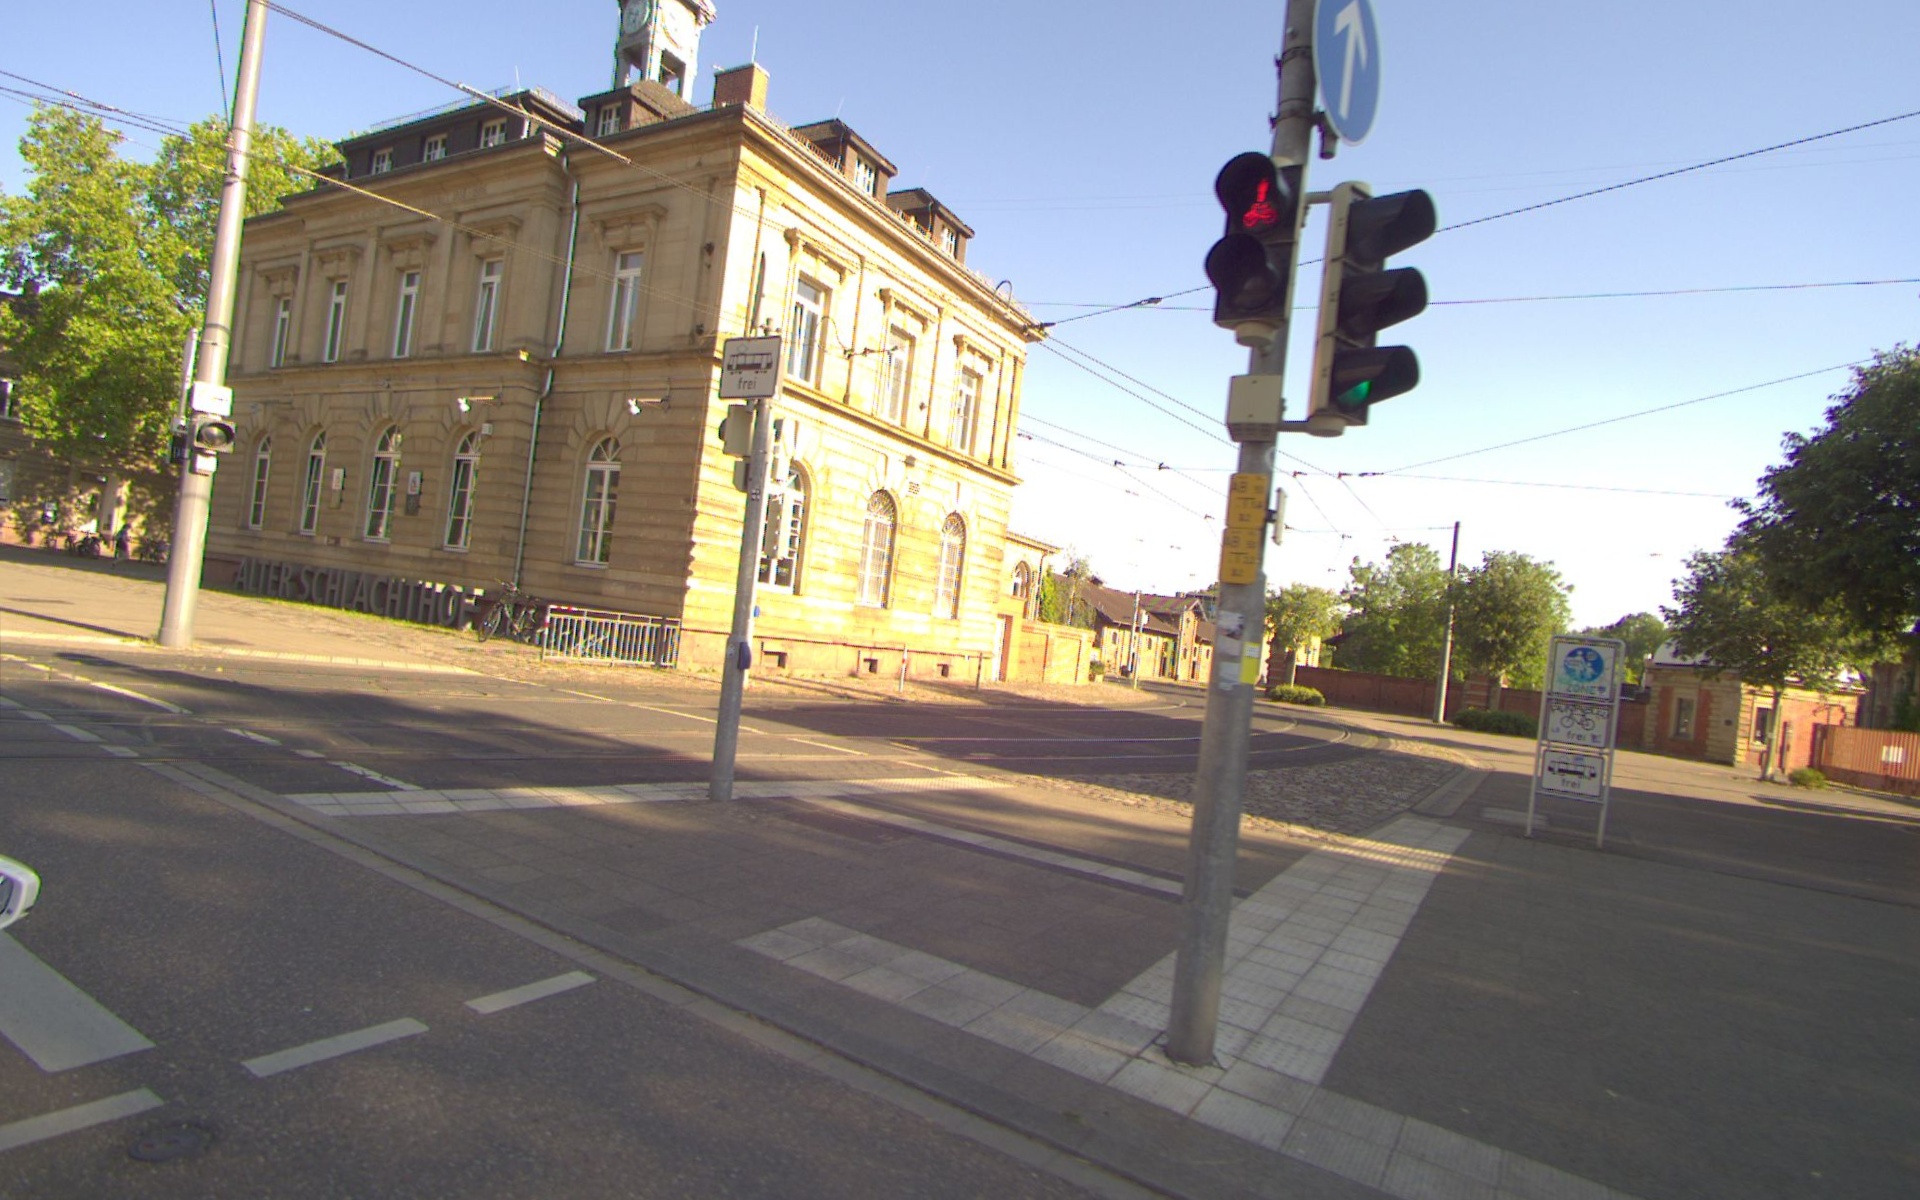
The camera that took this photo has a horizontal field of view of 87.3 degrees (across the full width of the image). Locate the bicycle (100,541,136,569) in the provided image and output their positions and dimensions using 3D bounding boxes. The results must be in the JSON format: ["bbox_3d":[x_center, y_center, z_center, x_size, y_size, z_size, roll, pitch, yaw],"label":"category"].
[{"bbox_3d":[-38.041,-2.054,45.457,2.194,1.059,0.526,6,-1,33],"label":"bicycle"}]

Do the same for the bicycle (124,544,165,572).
[{"bbox_3d":[-37.677,-1.941,46.473,2.192,1.059,0.527,7,-1,27],"label":"bicycle"}]

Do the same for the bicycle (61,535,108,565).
[{"bbox_3d":[-38.305,-2.184,43.994,2.316,1.059,0.527,7,-1,23],"label":"bicycle"}]

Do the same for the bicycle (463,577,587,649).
[{"bbox_3d":[-8.572,0.281,19.936,0.752,1.224,2.140,7,0,29],"label":"bicycle"}]

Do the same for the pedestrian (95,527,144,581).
[{"bbox_3d":[-32.152,-1.769,38.484,0.811,1.888,0.983,7,-1,19],"label":"pedestrian"}]

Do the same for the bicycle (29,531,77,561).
[{"bbox_3d":[-38.864,-2.314,43.093,2.316,1.059,0.527,7,-1,23],"label":"bicycle"}]
